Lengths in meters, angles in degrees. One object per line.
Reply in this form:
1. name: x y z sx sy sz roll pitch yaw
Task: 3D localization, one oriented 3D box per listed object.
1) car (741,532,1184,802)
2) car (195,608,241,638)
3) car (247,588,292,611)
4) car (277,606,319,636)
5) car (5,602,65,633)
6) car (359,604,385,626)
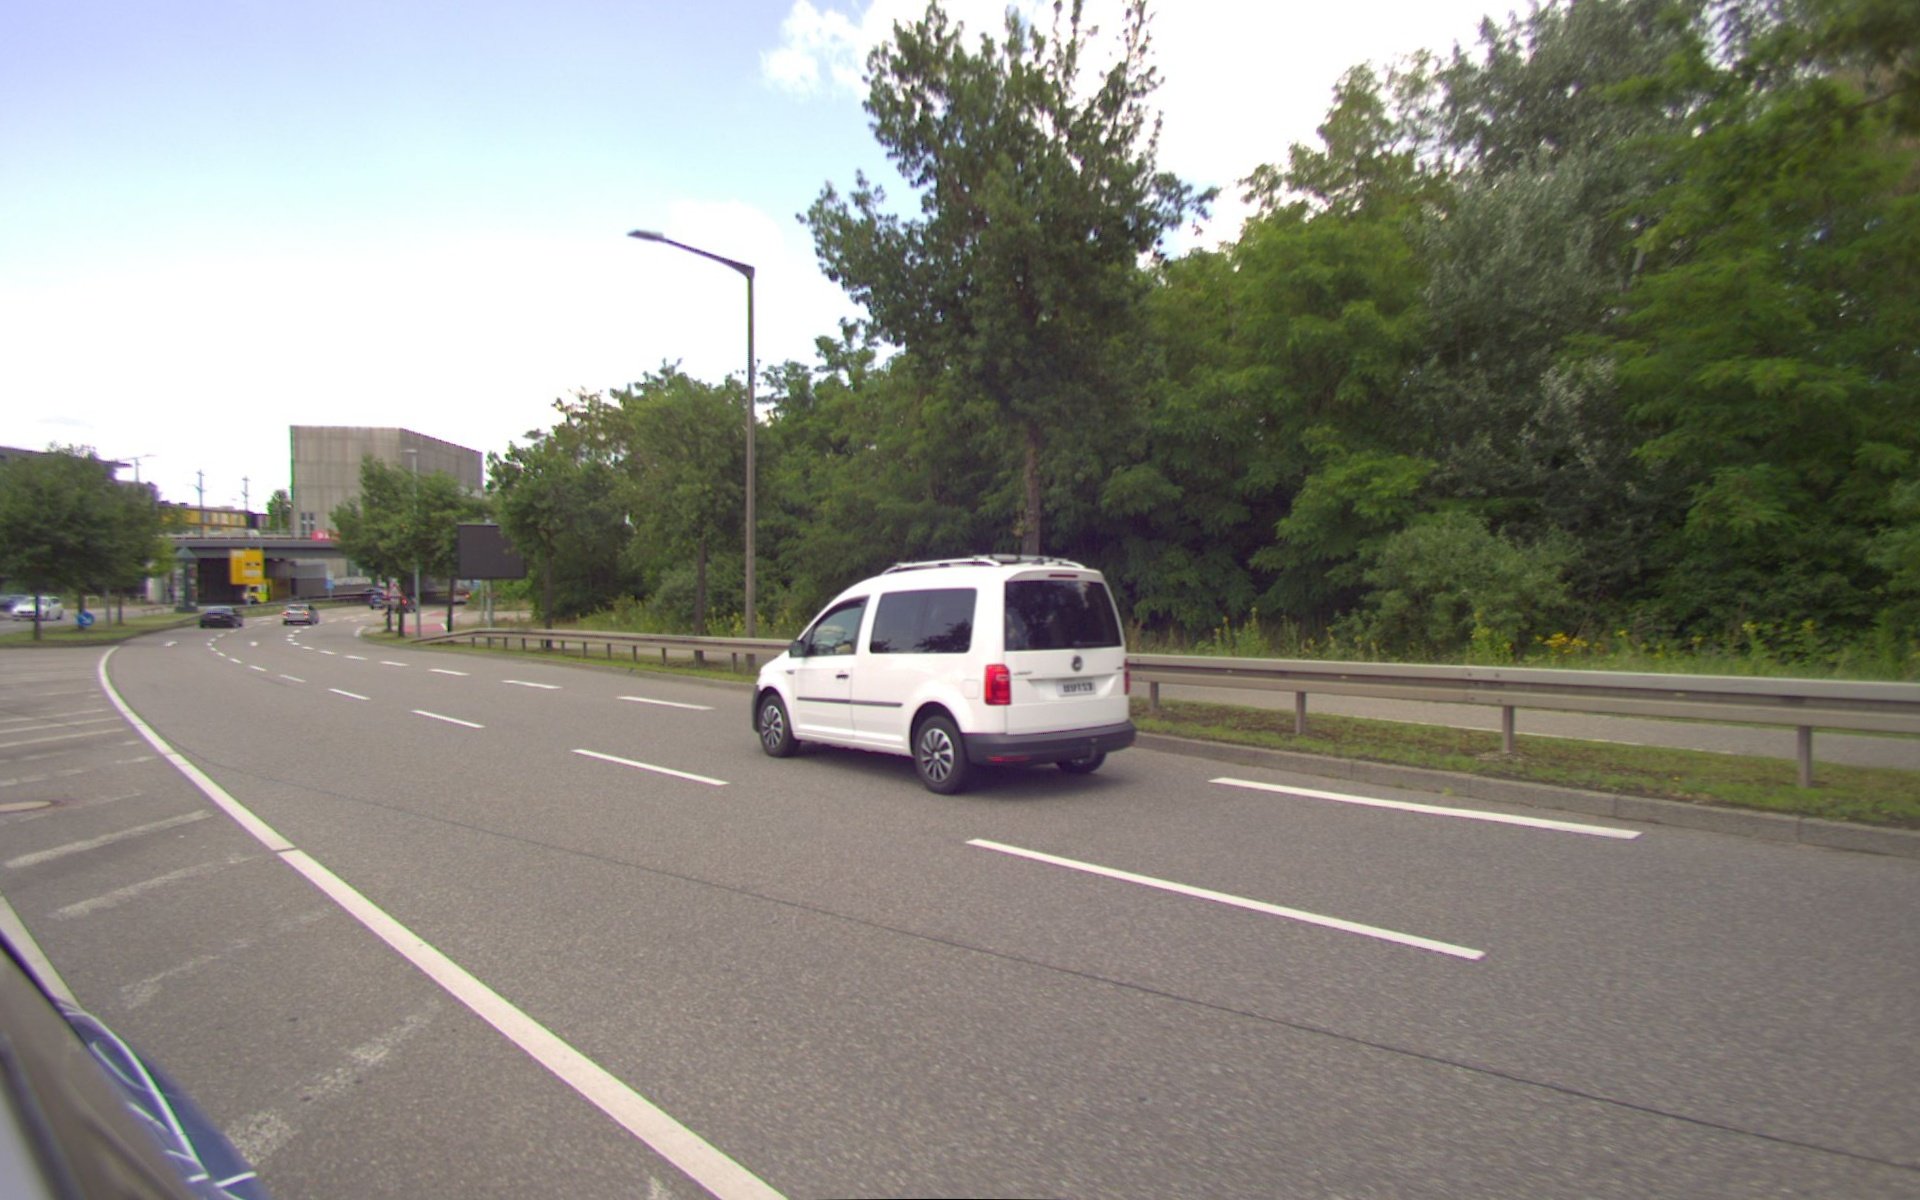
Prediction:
1. car: -0.197 0.500 9.192 1.752 1.877 4.131 0 -1 -41
2. car: -47.729 1.442 65.179 1.946 1.849 4.012 2 -1 -31
3. car: -76.960 -0.076 112.924 1.970 2.337 4.893 -2 2 -5
4. car: -46.890 1.469 71.779 1.945 2.029 4.013 2 -1 -26
5. car: -63.408 1.161 69.430 1.965 2.029 4.013 2 -1 -26
6. car: -57.828 1.442 99.549 1.946 2.029 4.013 2 -1 -28
